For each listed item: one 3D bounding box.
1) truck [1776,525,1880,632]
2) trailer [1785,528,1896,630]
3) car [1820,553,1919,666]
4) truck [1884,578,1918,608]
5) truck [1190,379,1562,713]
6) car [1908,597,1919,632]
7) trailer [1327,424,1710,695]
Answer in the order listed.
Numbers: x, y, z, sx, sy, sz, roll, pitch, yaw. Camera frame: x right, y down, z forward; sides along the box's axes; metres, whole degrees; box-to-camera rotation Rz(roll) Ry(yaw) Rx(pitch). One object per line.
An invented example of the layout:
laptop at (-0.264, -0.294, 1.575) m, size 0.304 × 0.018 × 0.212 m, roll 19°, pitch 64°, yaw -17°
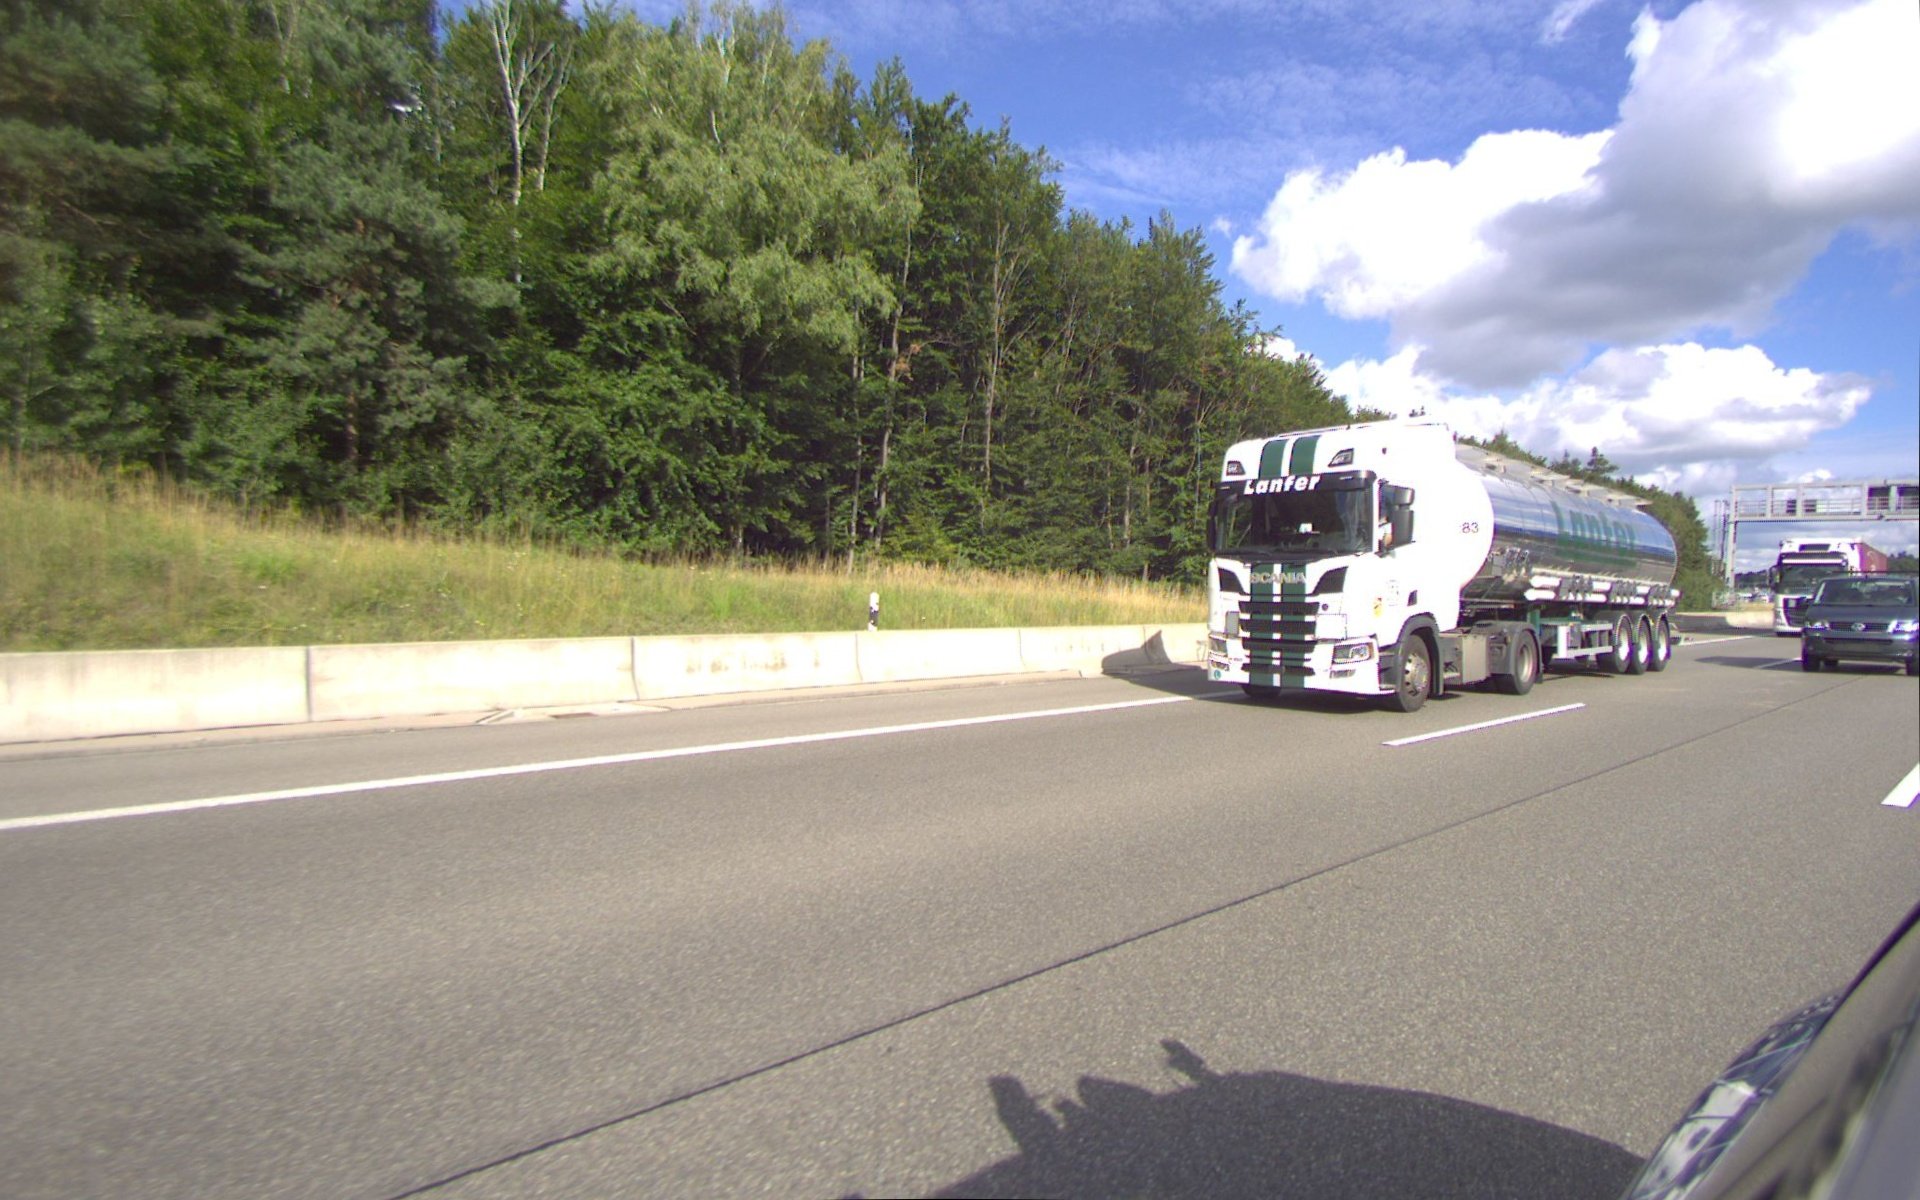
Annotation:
truck at (36.025, -0.845, 41.954) m, size 5.678 × 4.096 × 2.776 m, roll 0°, pitch 0°, yaw -44°
trailer at (40.599, -0.840, 46.423) m, size 13.488 × 4.096 × 2.776 m, roll 0°, pitch 0°, yaw -45°
car at (19.610, 0.164, 21.260) m, size 4.850 × 2.136 × 1.851 m, roll 0°, pitch 0°, yaw -44°
truck at (122.034, -0.864, 131.324) m, size 3.009 × 3.730 × 7.446 m, roll 2°, pitch 1°, yaw 42°
truck at (6.243, -0.641, 14.736) m, size 5.977 × 3.871 × 2.653 m, roll 1°, pitch 1°, yaw -42°
car at (41.555, 0.598, 42.688) m, size 5.016 × 1.452 × 2.148 m, roll 0°, pitch 1°, yaw -45°
trailer at (11.117, -0.575, 19.139) m, size 11.655 × 3.814 × 2.653 m, roll 0°, pitch 1°, yaw -42°
